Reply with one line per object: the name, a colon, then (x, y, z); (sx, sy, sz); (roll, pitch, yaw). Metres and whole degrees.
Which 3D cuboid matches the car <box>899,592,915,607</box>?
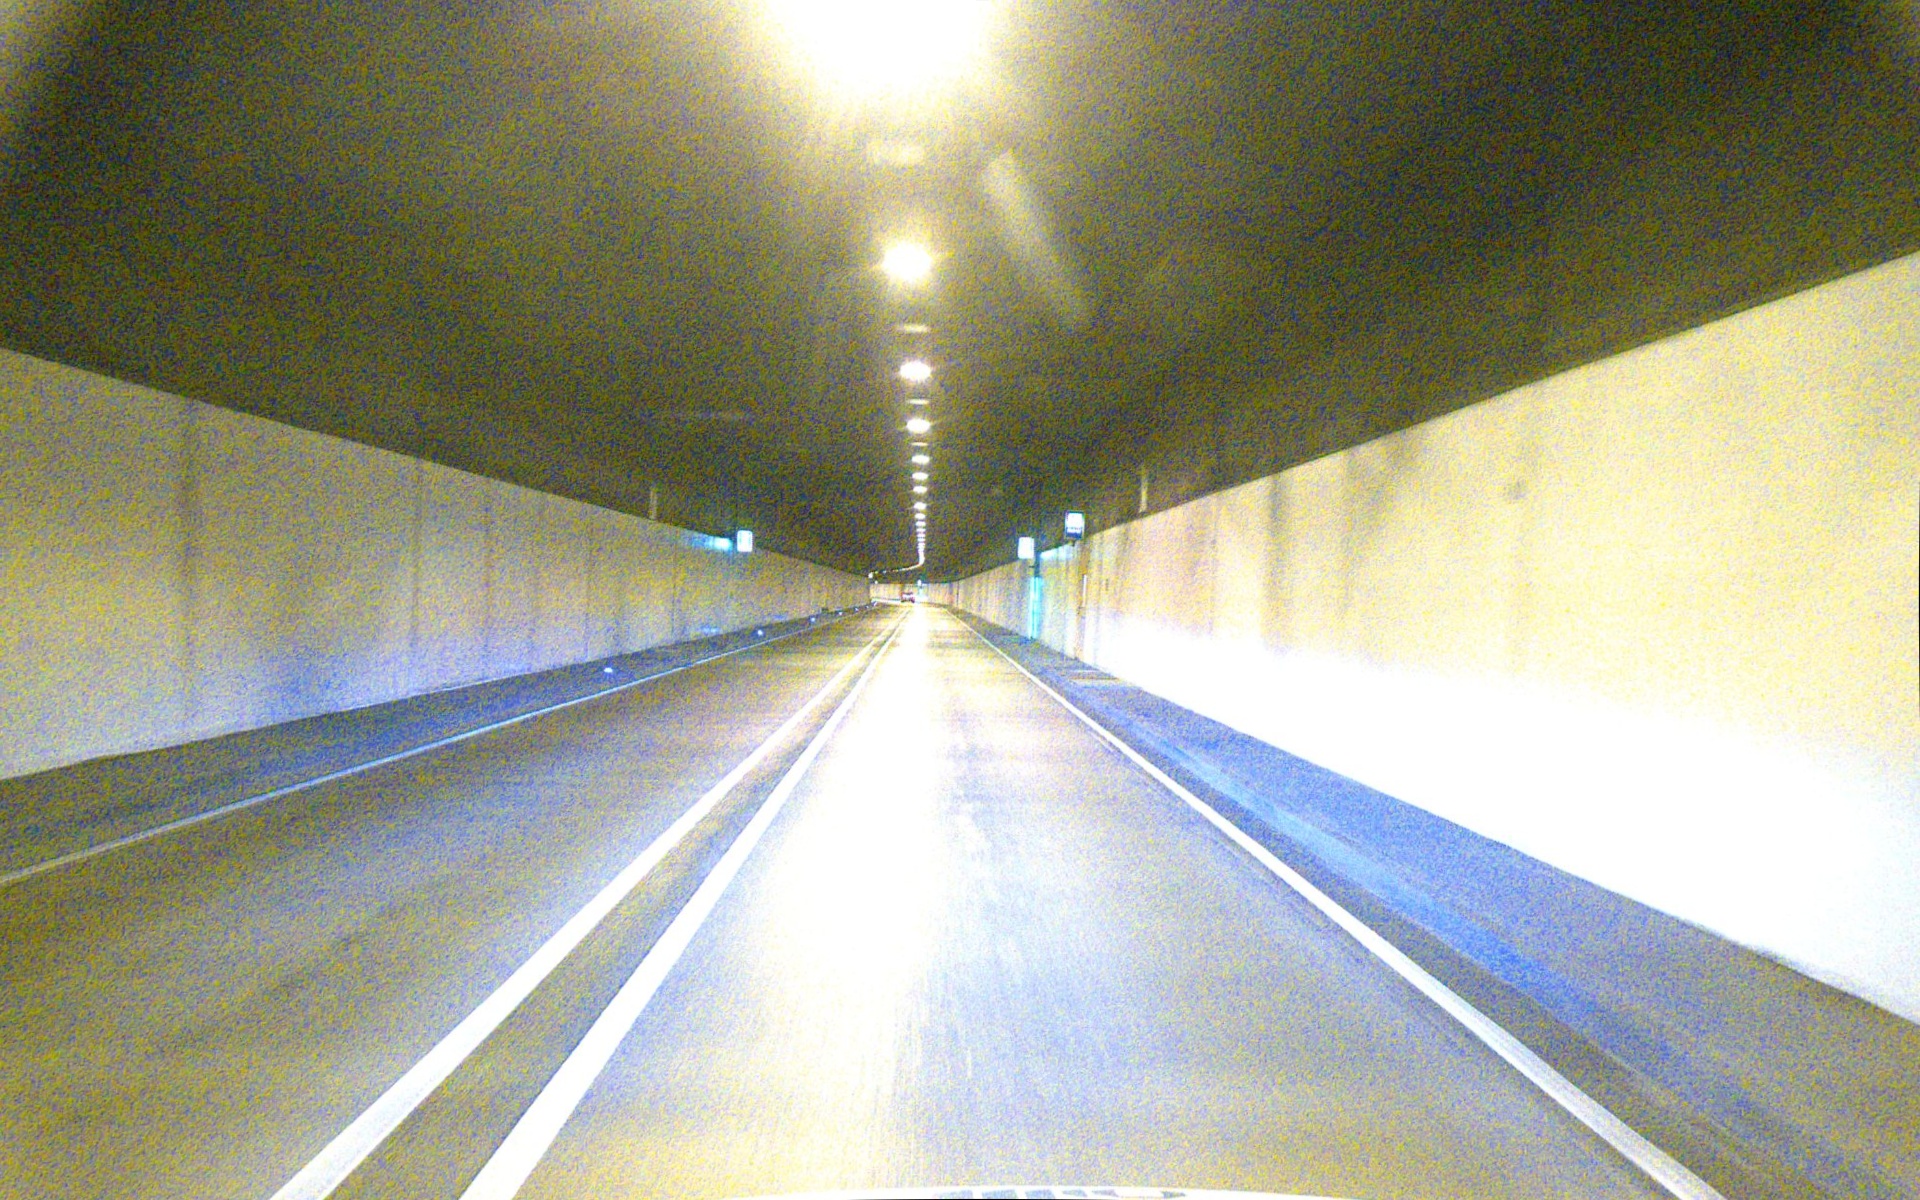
car: (-7.547, -0.087, 237.034); (1.929, 1.973, 4.607); (2, -1, -6)
